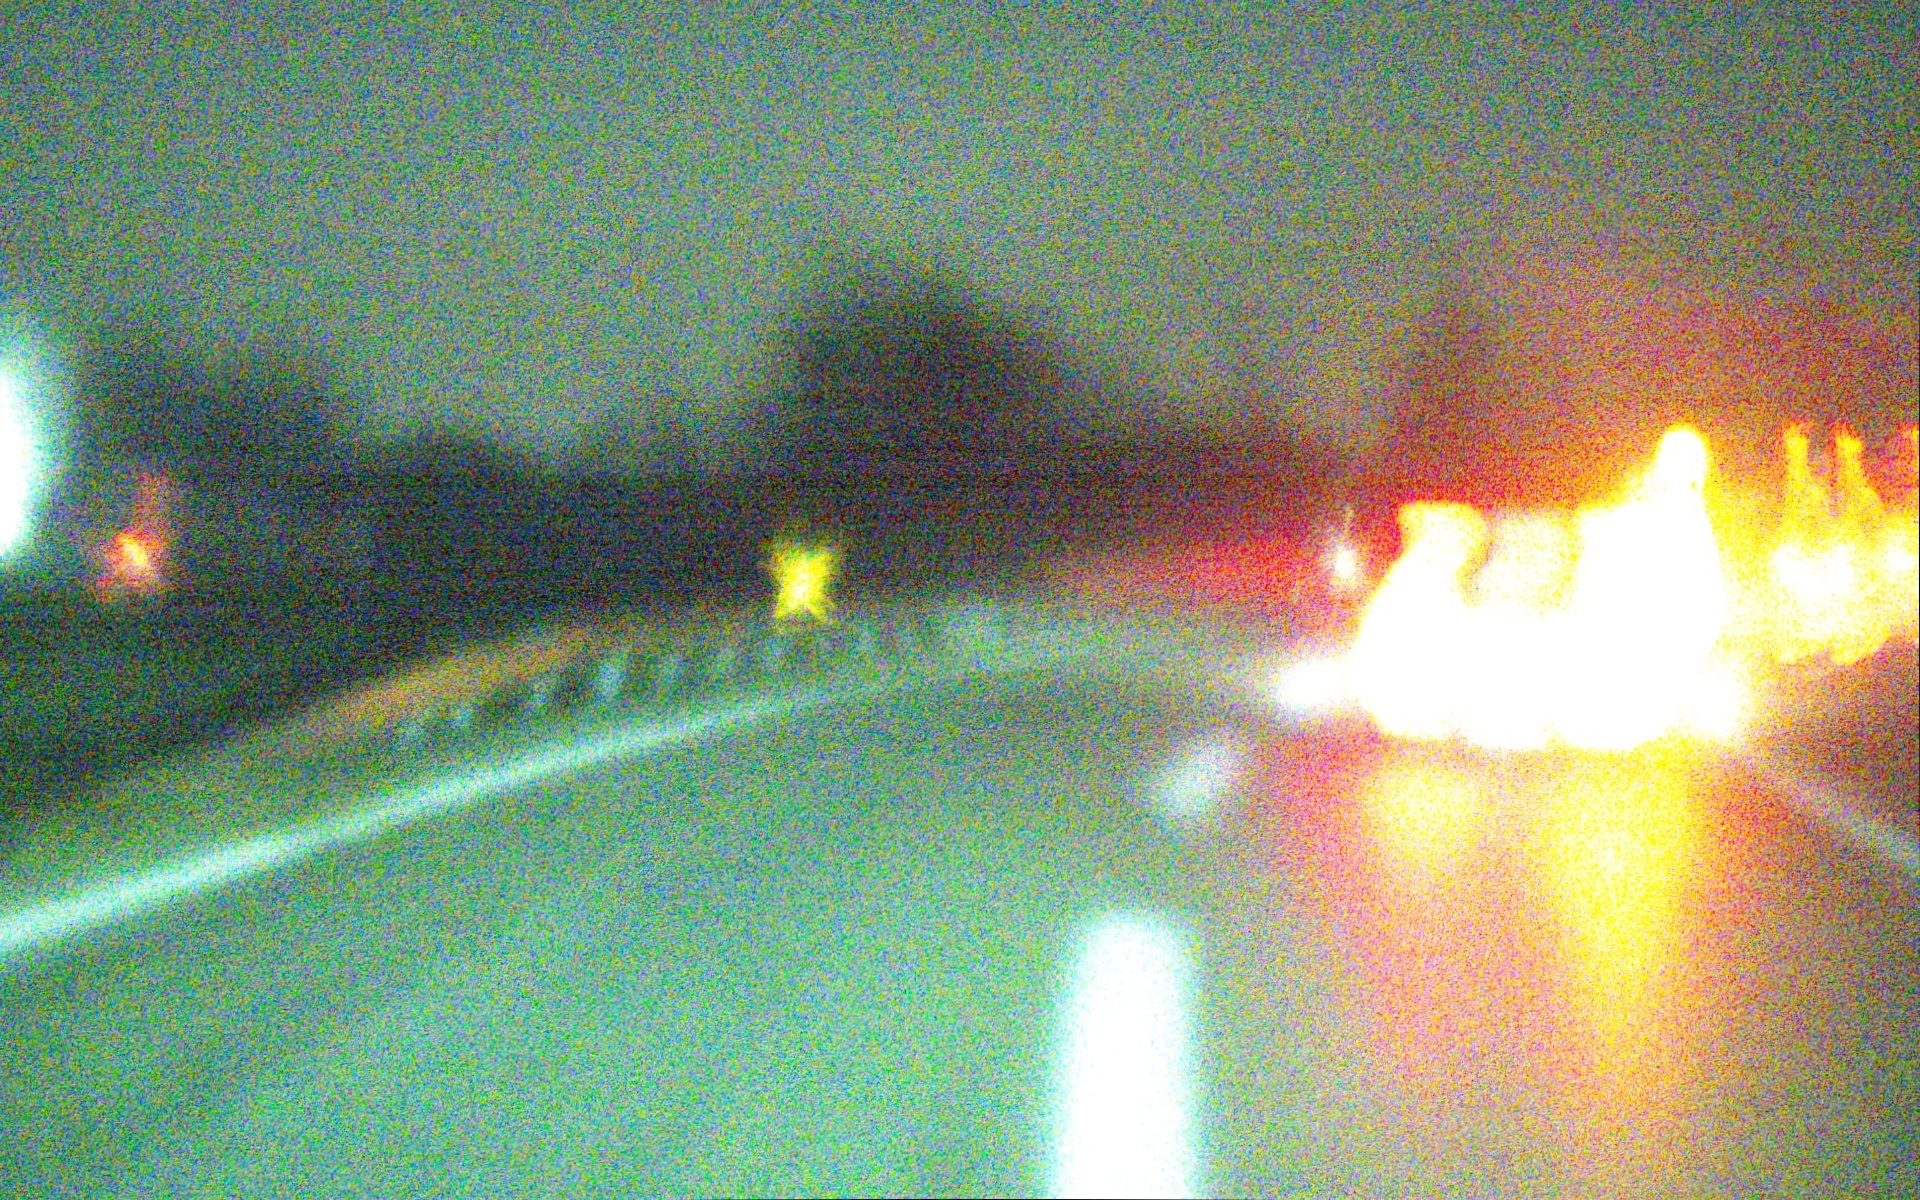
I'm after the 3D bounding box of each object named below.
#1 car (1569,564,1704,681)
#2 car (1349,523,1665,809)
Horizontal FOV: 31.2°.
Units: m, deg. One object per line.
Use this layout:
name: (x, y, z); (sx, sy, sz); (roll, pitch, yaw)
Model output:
car: (11.243, 0.376, 56.954); (1.995, 1.801, 3.997); (2, 0, 13)
car: (3.859, 0.435, 24.617); (1.994, 1.801, 3.999); (2, 0, 8)
